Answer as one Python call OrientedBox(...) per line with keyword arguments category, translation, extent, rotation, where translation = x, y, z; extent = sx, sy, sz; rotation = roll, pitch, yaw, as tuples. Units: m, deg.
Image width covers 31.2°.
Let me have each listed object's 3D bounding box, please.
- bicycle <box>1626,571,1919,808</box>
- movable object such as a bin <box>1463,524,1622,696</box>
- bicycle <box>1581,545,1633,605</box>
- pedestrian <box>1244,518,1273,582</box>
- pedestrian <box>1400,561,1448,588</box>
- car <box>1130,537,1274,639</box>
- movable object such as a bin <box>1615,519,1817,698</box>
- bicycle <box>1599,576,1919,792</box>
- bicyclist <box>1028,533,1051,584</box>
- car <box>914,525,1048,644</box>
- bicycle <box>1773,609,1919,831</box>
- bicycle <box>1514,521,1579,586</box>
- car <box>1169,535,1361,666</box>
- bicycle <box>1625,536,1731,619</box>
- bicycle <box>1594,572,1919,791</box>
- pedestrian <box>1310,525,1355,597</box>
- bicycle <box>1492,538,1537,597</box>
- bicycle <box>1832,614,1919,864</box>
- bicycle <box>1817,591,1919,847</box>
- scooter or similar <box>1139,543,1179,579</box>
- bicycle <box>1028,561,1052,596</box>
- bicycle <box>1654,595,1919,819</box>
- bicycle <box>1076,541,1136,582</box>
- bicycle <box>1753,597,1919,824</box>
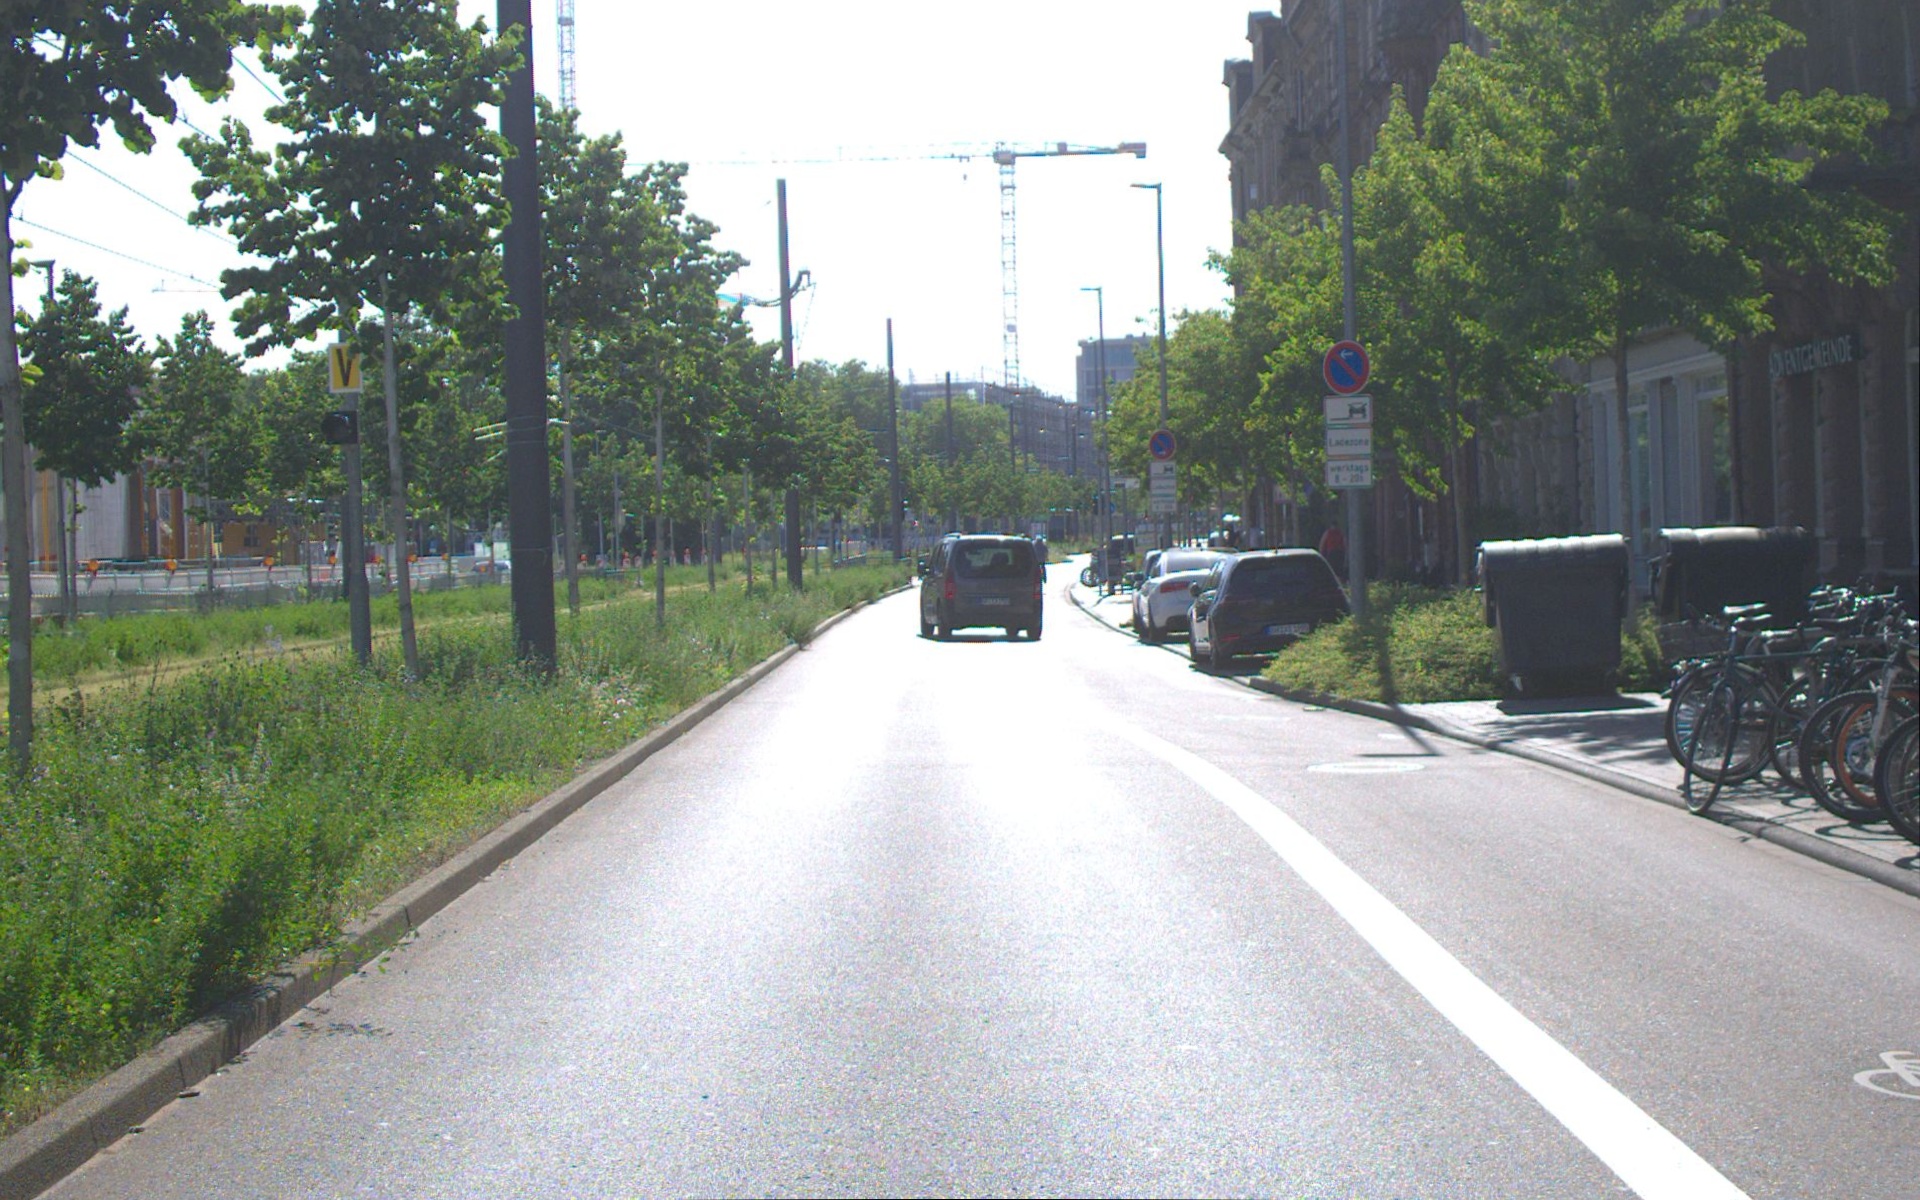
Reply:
OrientedBox(category="bicycle", translation=(4.851, 0.473, 19.220), extent=(2.146, 1.150, 0.429), rotation=(-5, 1, -13))
OrientedBox(category="movable object such as a bin", translation=(5.221, 0.070, 30.952), extent=(1.271, 1.458, 1.644), rotation=(0, 3, 5))
OrientedBox(category="bicycle", translation=(10.468, -0.412, 55.695), extent=(0.447, 0.941, 2.013), rotation=(-1, 1, 0))
OrientedBox(category="pedestrian", translation=(9.531, -1.599, 109.827), extent=(0.817, 2.007, 1.046), rotation=(-1, 1, 0))
OrientedBox(category="pedestrian", translation=(10.400, -0.571, 77.103), extent=(0.773, 0.551, 2.008), rotation=(-2, 1, 0))
OrientedBox(category="car", translation=(3.927, -0.226, 56.547), extent=(1.951, 1.490, 5.105), rotation=(-3, 1, 0))
OrientedBox(category="movable object such as a bin", translation=(6.817, 0.070, 31.122), extent=(1.373, 1.490, 1.749), rotation=(-4, 0, 1))
OrientedBox(category="bicycle", translation=(4.898, 0.482, 20.304), extent=(2.043, 1.103, 0.611), rotation=(-4, 1, -6))
OrientedBox(category="bicyclist", translation=(2.507, -1.317, 108.649), extent=(0.683, 1.579, 0.840), rotation=(-1, 1, 0))
OrientedBox(category="car", translation=(0.337, -0.273, 60.286), extent=(1.993, 2.007, 4.001), rotation=(0, 0, -5))
OrientedBox(category="bicycle", translation=(5.107, 0.565, 17.366), extent=(1.814, 1.052, 0.572), rotation=(-3, 0, -5))
OrientedBox(category="bicycle", translation=(10.277, -0.826, 60.272), extent=(0.721, 1.086, 2.198), rotation=(-3, 1, 0))
OrientedBox(category="car", translation=(3.830, 0.002, 43.840), extent=(1.765, 1.472, 4.449), rotation=(-4, 0, -3))
OrientedBox(category="bicycle", translation=(10.247, -0.331, 49.142), extent=(0.875, 1.101, 2.182), rotation=(-4, 1, -3))
OrientedBox(category="bicycle", translation=(4.890, 0.482, 20.712), extent=(1.974, 1.120, 0.482), rotation=(-5, 2, -5))
OrientedBox(category="pedestrian", translation=(8.991, -0.931, 83.021), extent=(0.996, 1.725, 0.866), rotation=(0, 0, 0))
OrientedBox(category="bicycle", translation=(10.418, -0.618, 64.620), extent=(0.481, 1.086, 2.057), rotation=(-2, 1, 0))
OrientedBox(category="bicycle", translation=(5.071, 0.590, 15.894), extent=(1.891, 1.105, 0.518), rotation=(-3, 0, -5))
OrientedBox(category="bicycle", translation=(5.047, 0.529, 16.247), extent=(1.866, 1.175, 0.374), rotation=(-2, 0, -3))
OrientedBox(category="scooter or similar", translation=(6.430, -1.254, 111.039), extent=(1.220, 1.102, 0.783), rotation=(-3, 2, 3))
OrientedBox(category="bicycle", translation=(2.522, -0.680, 108.563), extent=(0.701, 1.087, 2.277), rotation=(-1, 1, 0))
OrientedBox(category="bicycle", translation=(4.995, 0.551, 18.876), extent=(2.284, 1.098, 0.486), rotation=(-4, 1, -14))
OrientedBox(category="bicycle", translation=(4.837, -1.268, 113.905), extent=(1.878, 1.229, 0.500), rotation=(-4, 0, -5))
OrientedBox(category="bicycle", translation=(5.148, 0.530, 17.709), extent=(1.977, 1.104, 0.435), rotation=(-3, 0, -3))
